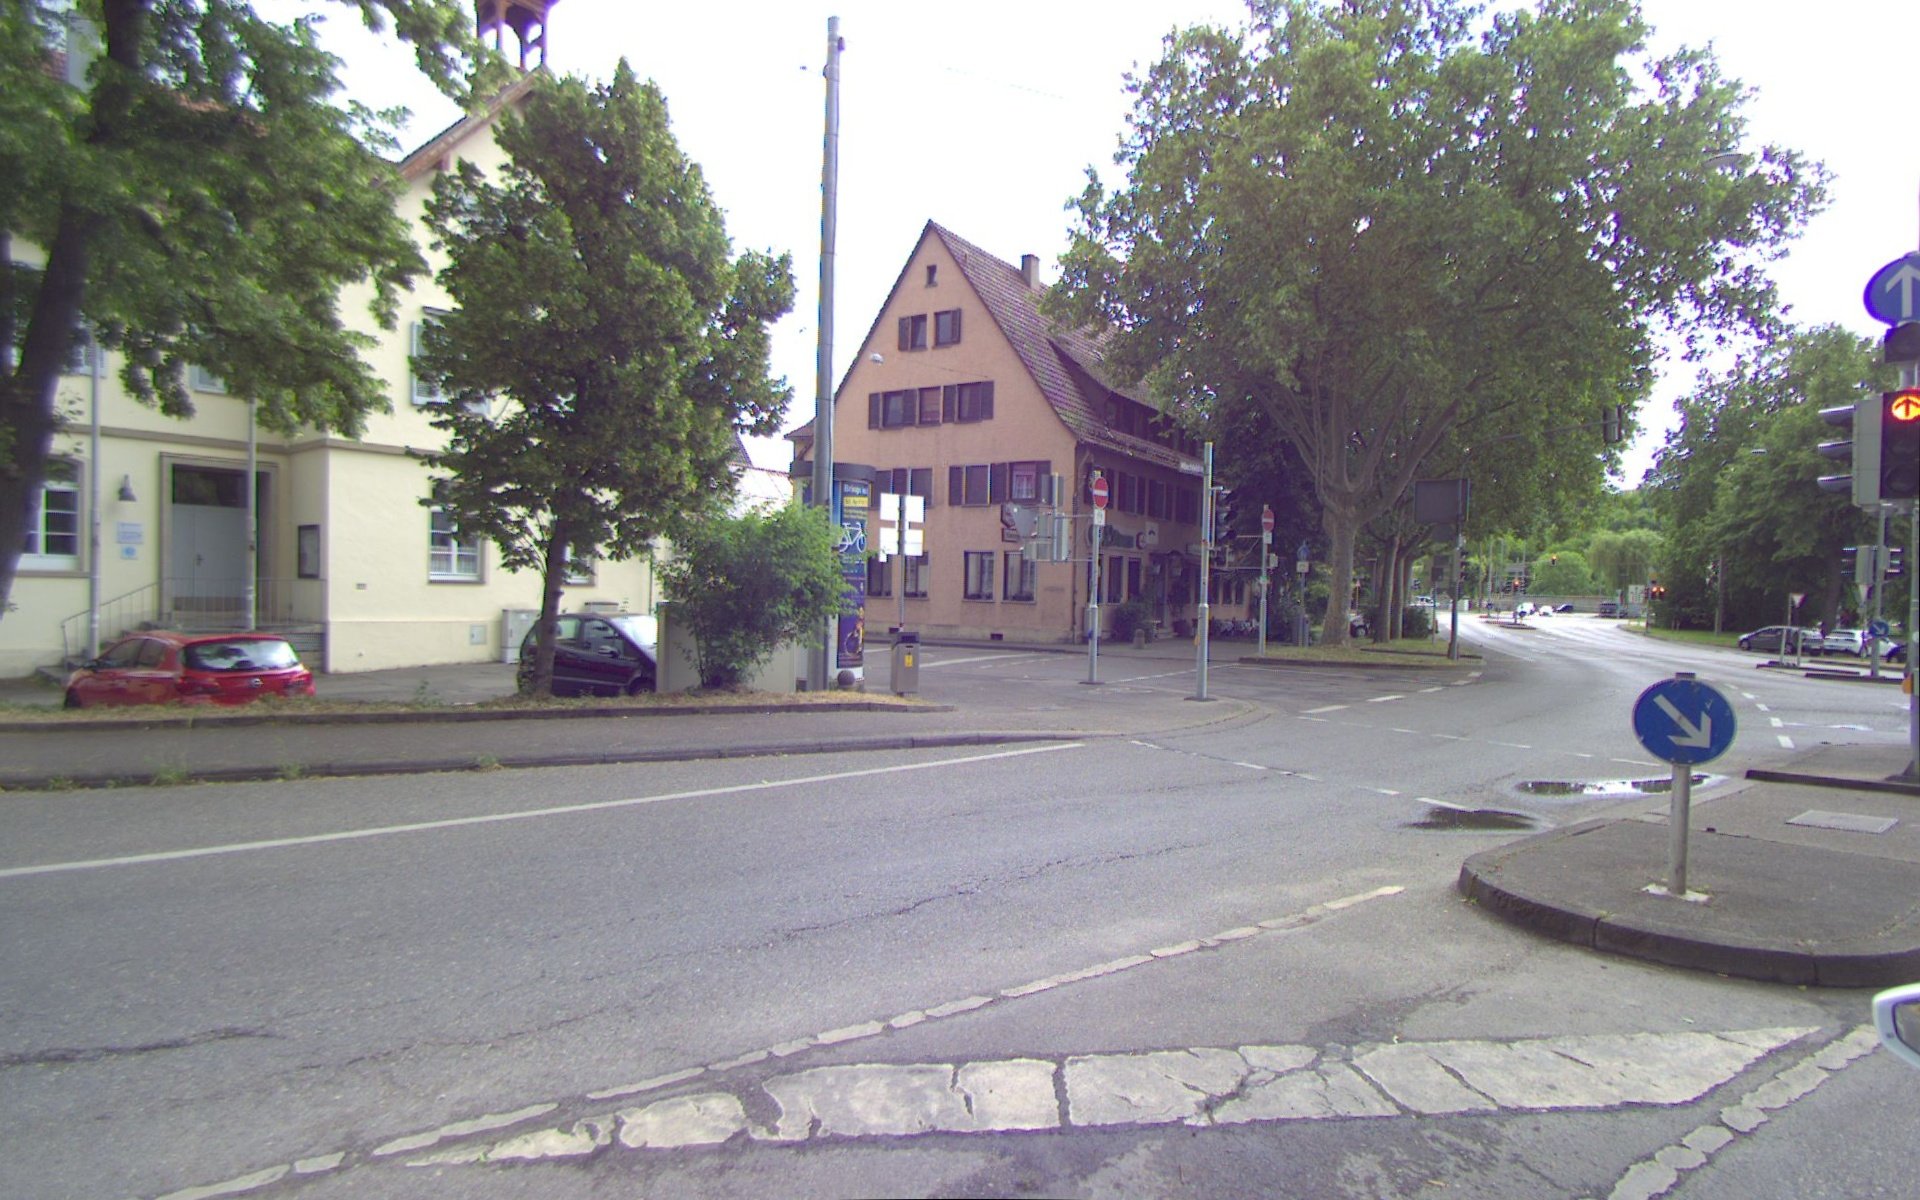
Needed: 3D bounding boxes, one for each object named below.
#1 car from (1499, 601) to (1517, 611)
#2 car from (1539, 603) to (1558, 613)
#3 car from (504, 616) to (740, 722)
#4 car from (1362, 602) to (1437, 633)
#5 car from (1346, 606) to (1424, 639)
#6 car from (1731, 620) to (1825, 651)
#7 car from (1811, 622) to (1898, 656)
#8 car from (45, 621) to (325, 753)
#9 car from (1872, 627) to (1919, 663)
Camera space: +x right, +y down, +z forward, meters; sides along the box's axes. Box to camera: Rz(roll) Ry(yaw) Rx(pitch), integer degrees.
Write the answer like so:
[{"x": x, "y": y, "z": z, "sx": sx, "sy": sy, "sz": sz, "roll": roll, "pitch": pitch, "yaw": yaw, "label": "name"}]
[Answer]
[{"x": 85.285, "y": 0.926, "z": 156.364, "sx": 1.553, "sy": 1.506, "sz": 3.337, "roll": 3, "pitch": 0, "yaw": 12, "label": "car"}, {"x": 91.011, "y": 1.276, "z": 155.389, "sx": 1.469, "sy": 1.436, "sz": 3.028, "roll": 3, "pitch": 0, "yaw": 11, "label": "car"}, {"x": -5.534, "y": 1.053, "z": 16.441, "sx": 3.507, "sy": 1.459, "sz": 1.644, "roll": 2, "pitch": 0, "yaw": 26, "label": "car"}, {"x": 25.729, "y": 1.013, "z": 58.782, "sx": 3.924, "sy": 1.706, "sz": 1.998, "roll": 1, "pitch": 0, "yaw": 25, "label": "car"}, {"x": 23.996, "y": 1.257, "z": 56.706, "sx": 3.924, "sy": 1.706, "sz": 1.998, "roll": 1, "pitch": 0, "yaw": 25, "label": "car"}, {"x": 43.817, "y": 1.883, "z": 53.905, "sx": 1.592, "sy": 1.485, "sz": 3.778, "roll": 2, "pitch": 0, "yaw": -11, "label": "car"}, {"x": 47.461, "y": 2.045, "z": 53.324, "sx": 3.696, "sy": 1.662, "sz": 1.859, "roll": 2, "pitch": 0, "yaw": -19, "label": "car"}, {"x": -10.322, "y": 1.047, "z": 13.347, "sx": 3.653, "sy": 1.401, "sz": 1.659, "roll": 2, "pitch": 0, "yaw": 30, "label": "car"}, {"x": 39.445, "y": 1.865, "z": 40.763, "sx": 1.746, "sy": 1.370, "sz": 3.326, "roll": 2, "pitch": 0, "yaw": -2, "label": "car"}]
